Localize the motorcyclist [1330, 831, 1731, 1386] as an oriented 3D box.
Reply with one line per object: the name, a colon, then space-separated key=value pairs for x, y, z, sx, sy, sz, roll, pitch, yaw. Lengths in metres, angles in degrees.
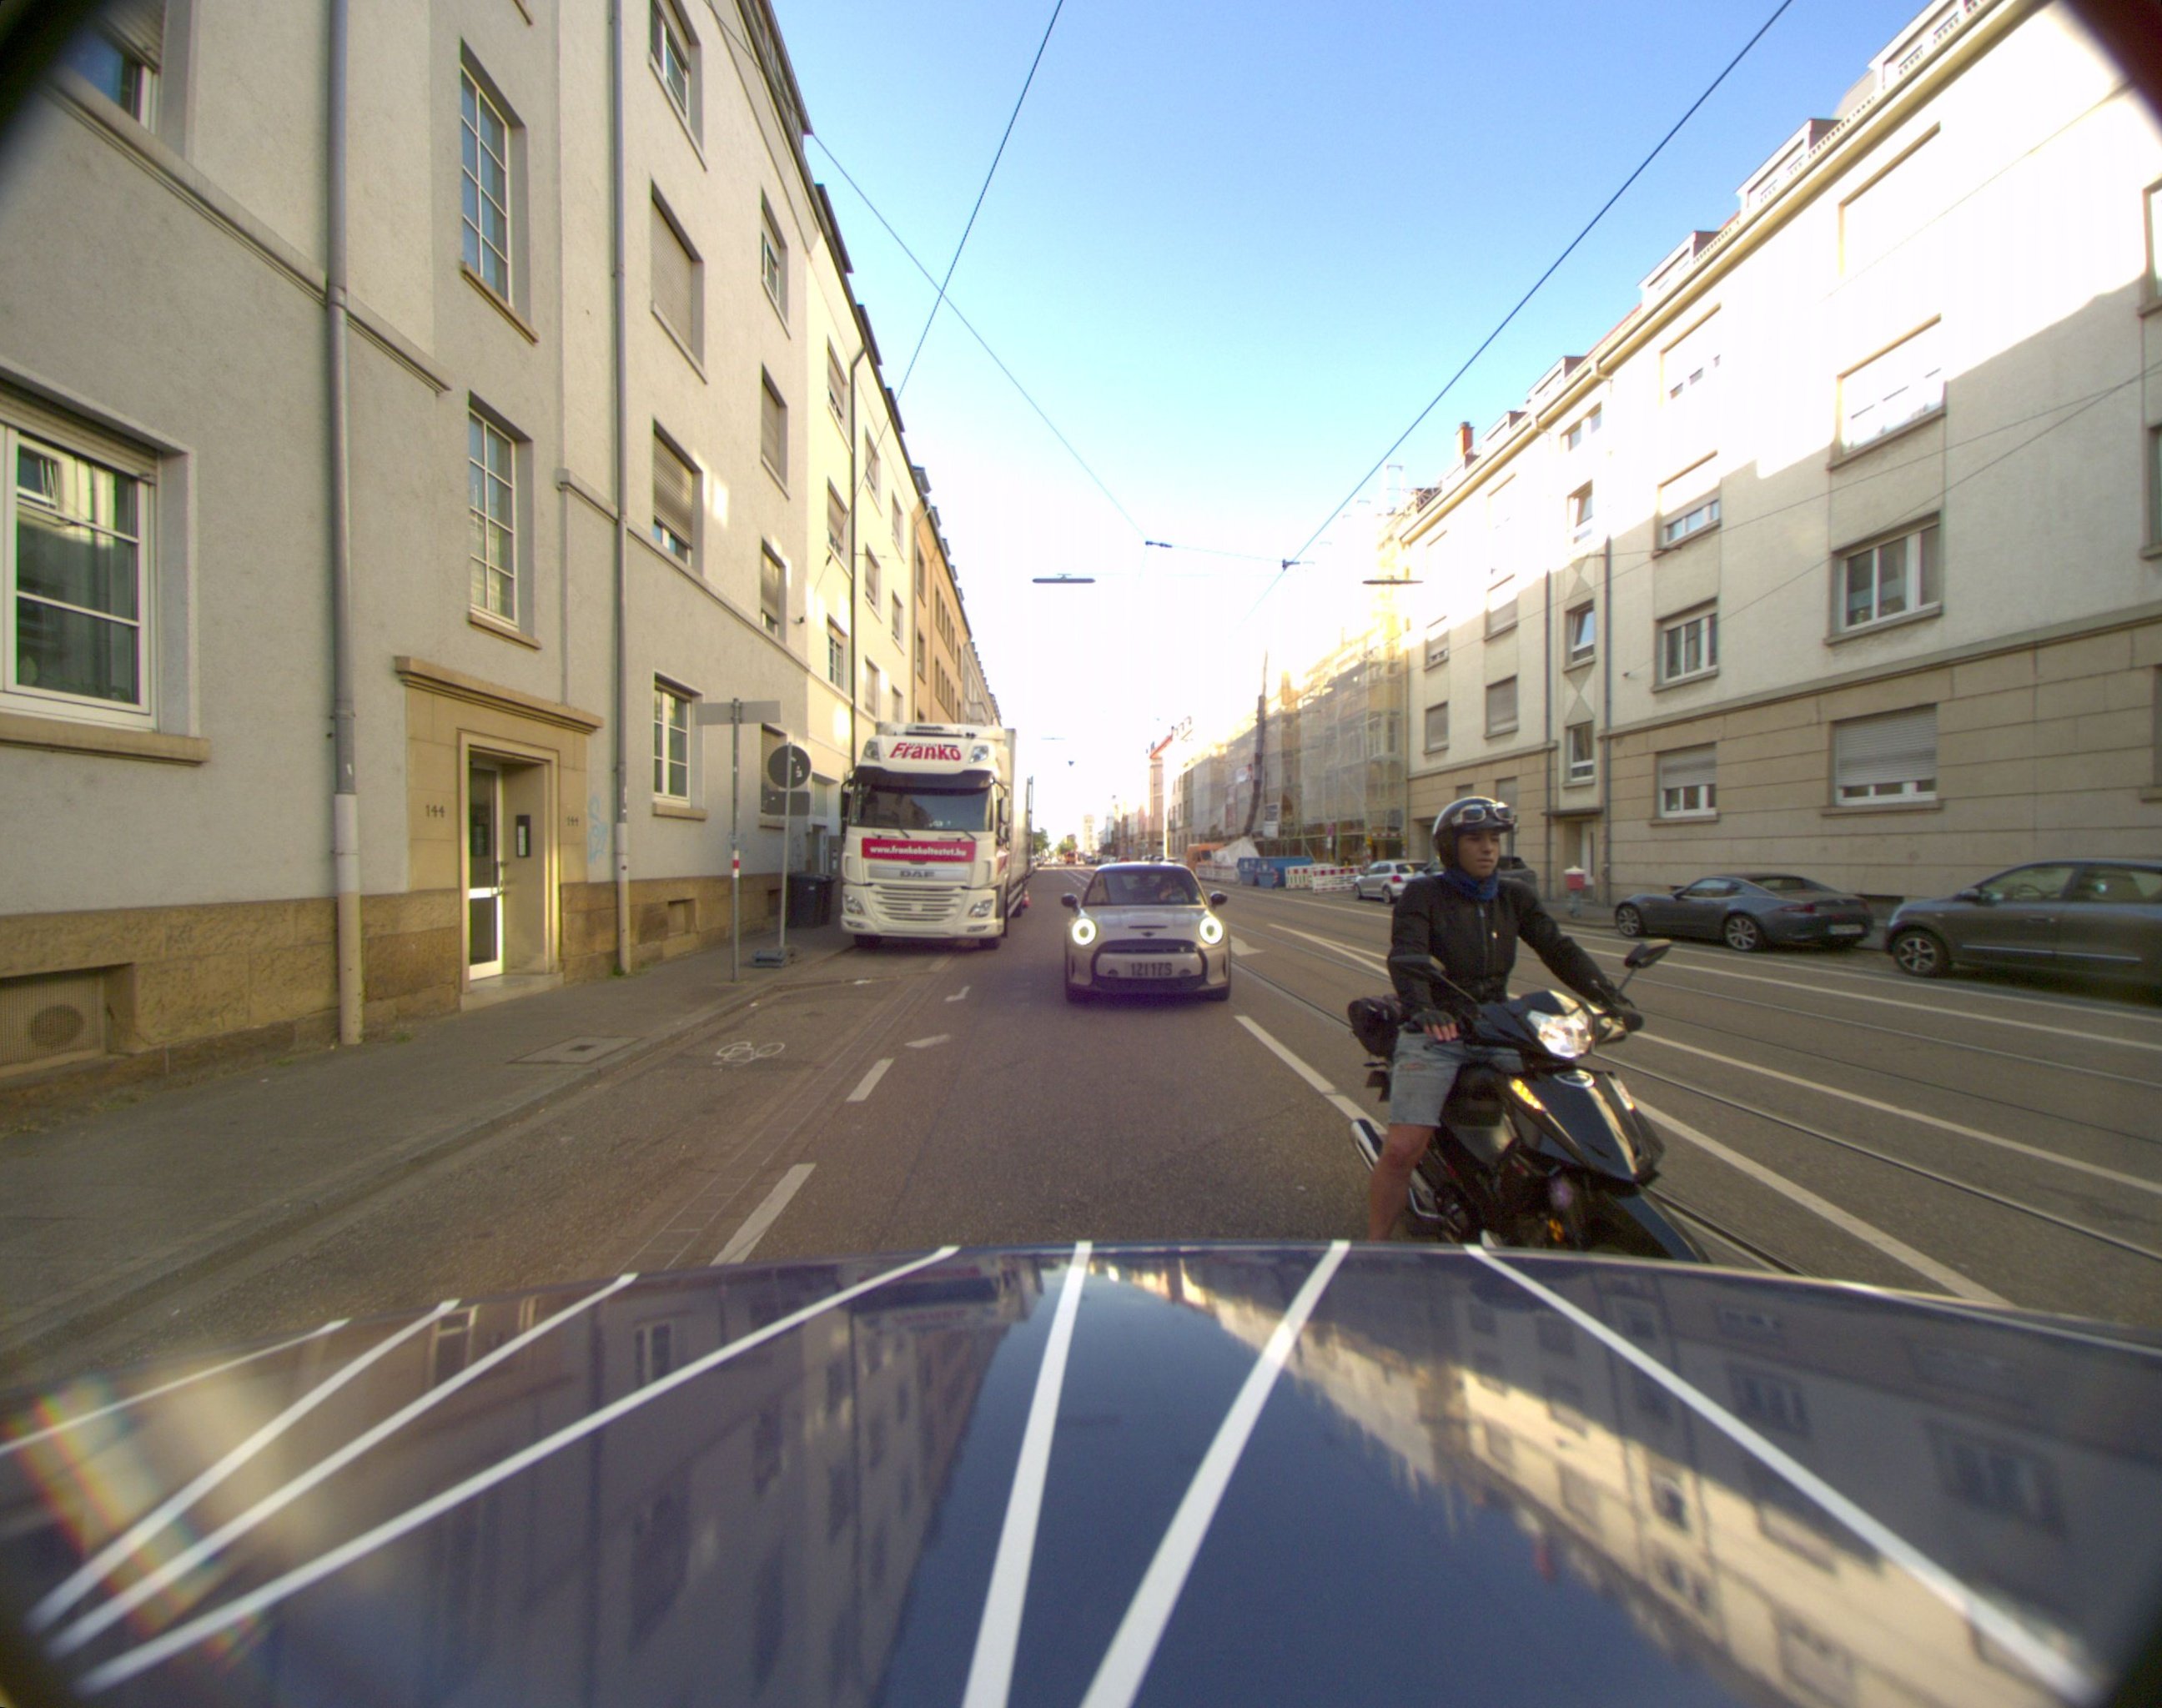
motorcyclist: x=1.327 y=0.698 z=2.371 sx=0.862 sy=1.496 sz=0.598 roll=-2 pitch=1 yaw=1

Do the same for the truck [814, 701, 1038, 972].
truck: x=-2.618 y=-0.254 z=17.157 sx=2.899 sy=3.939 sz=11.704 roll=-2 pitch=0 yaw=-2

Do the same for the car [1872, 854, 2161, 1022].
car: x=11.407 y=0.831 z=8.372 sx=1.670 sy=1.563 sz=3.496 roll=-2 pitch=1 yaw=-2

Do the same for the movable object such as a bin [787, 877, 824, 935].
movable object such as a bin: x=-5.407 y=1.010 z=14.921 sx=0.512 sy=1.085 sz=0.495 roll=-2 pitch=1 yaw=-4

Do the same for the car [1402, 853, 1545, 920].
car: x=10.796 y=0.821 z=21.264 sx=1.712 sy=1.582 sz=4.112 roll=-2 pitch=1 yaw=-3

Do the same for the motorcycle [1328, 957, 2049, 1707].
motorcycle: x=1.327 y=1.065 z=2.237 sx=0.538 sy=1.212 sz=1.981 roll=-2 pitch=1 yaw=1

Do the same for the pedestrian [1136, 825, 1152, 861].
pedestrian: x=7.795 y=-1.307 z=94.344 sx=1.723 sy=4.377 sz=1.153 roll=-2 pitch=1 yaw=2

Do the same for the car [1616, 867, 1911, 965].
car: x=11.289 y=0.944 z=12.928 sx=1.751 sy=1.269 sz=3.488 roll=-2 pitch=1 yaw=-4

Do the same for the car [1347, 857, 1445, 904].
car: x=10.639 y=0.858 z=25.901 sx=1.637 sy=1.383 sz=3.643 roll=-2 pitch=1 yaw=-3

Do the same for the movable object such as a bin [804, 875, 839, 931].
movable object such as a bin: x=-5.336 y=1.002 z=15.636 sx=0.512 sy=1.085 sz=0.495 roll=-2 pitch=1 yaw=-4

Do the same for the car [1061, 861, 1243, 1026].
car: x=0.660 y=0.852 z=9.073 sx=1.692 sy=1.495 sz=4.000 roll=0 pitch=0 yaw=0
